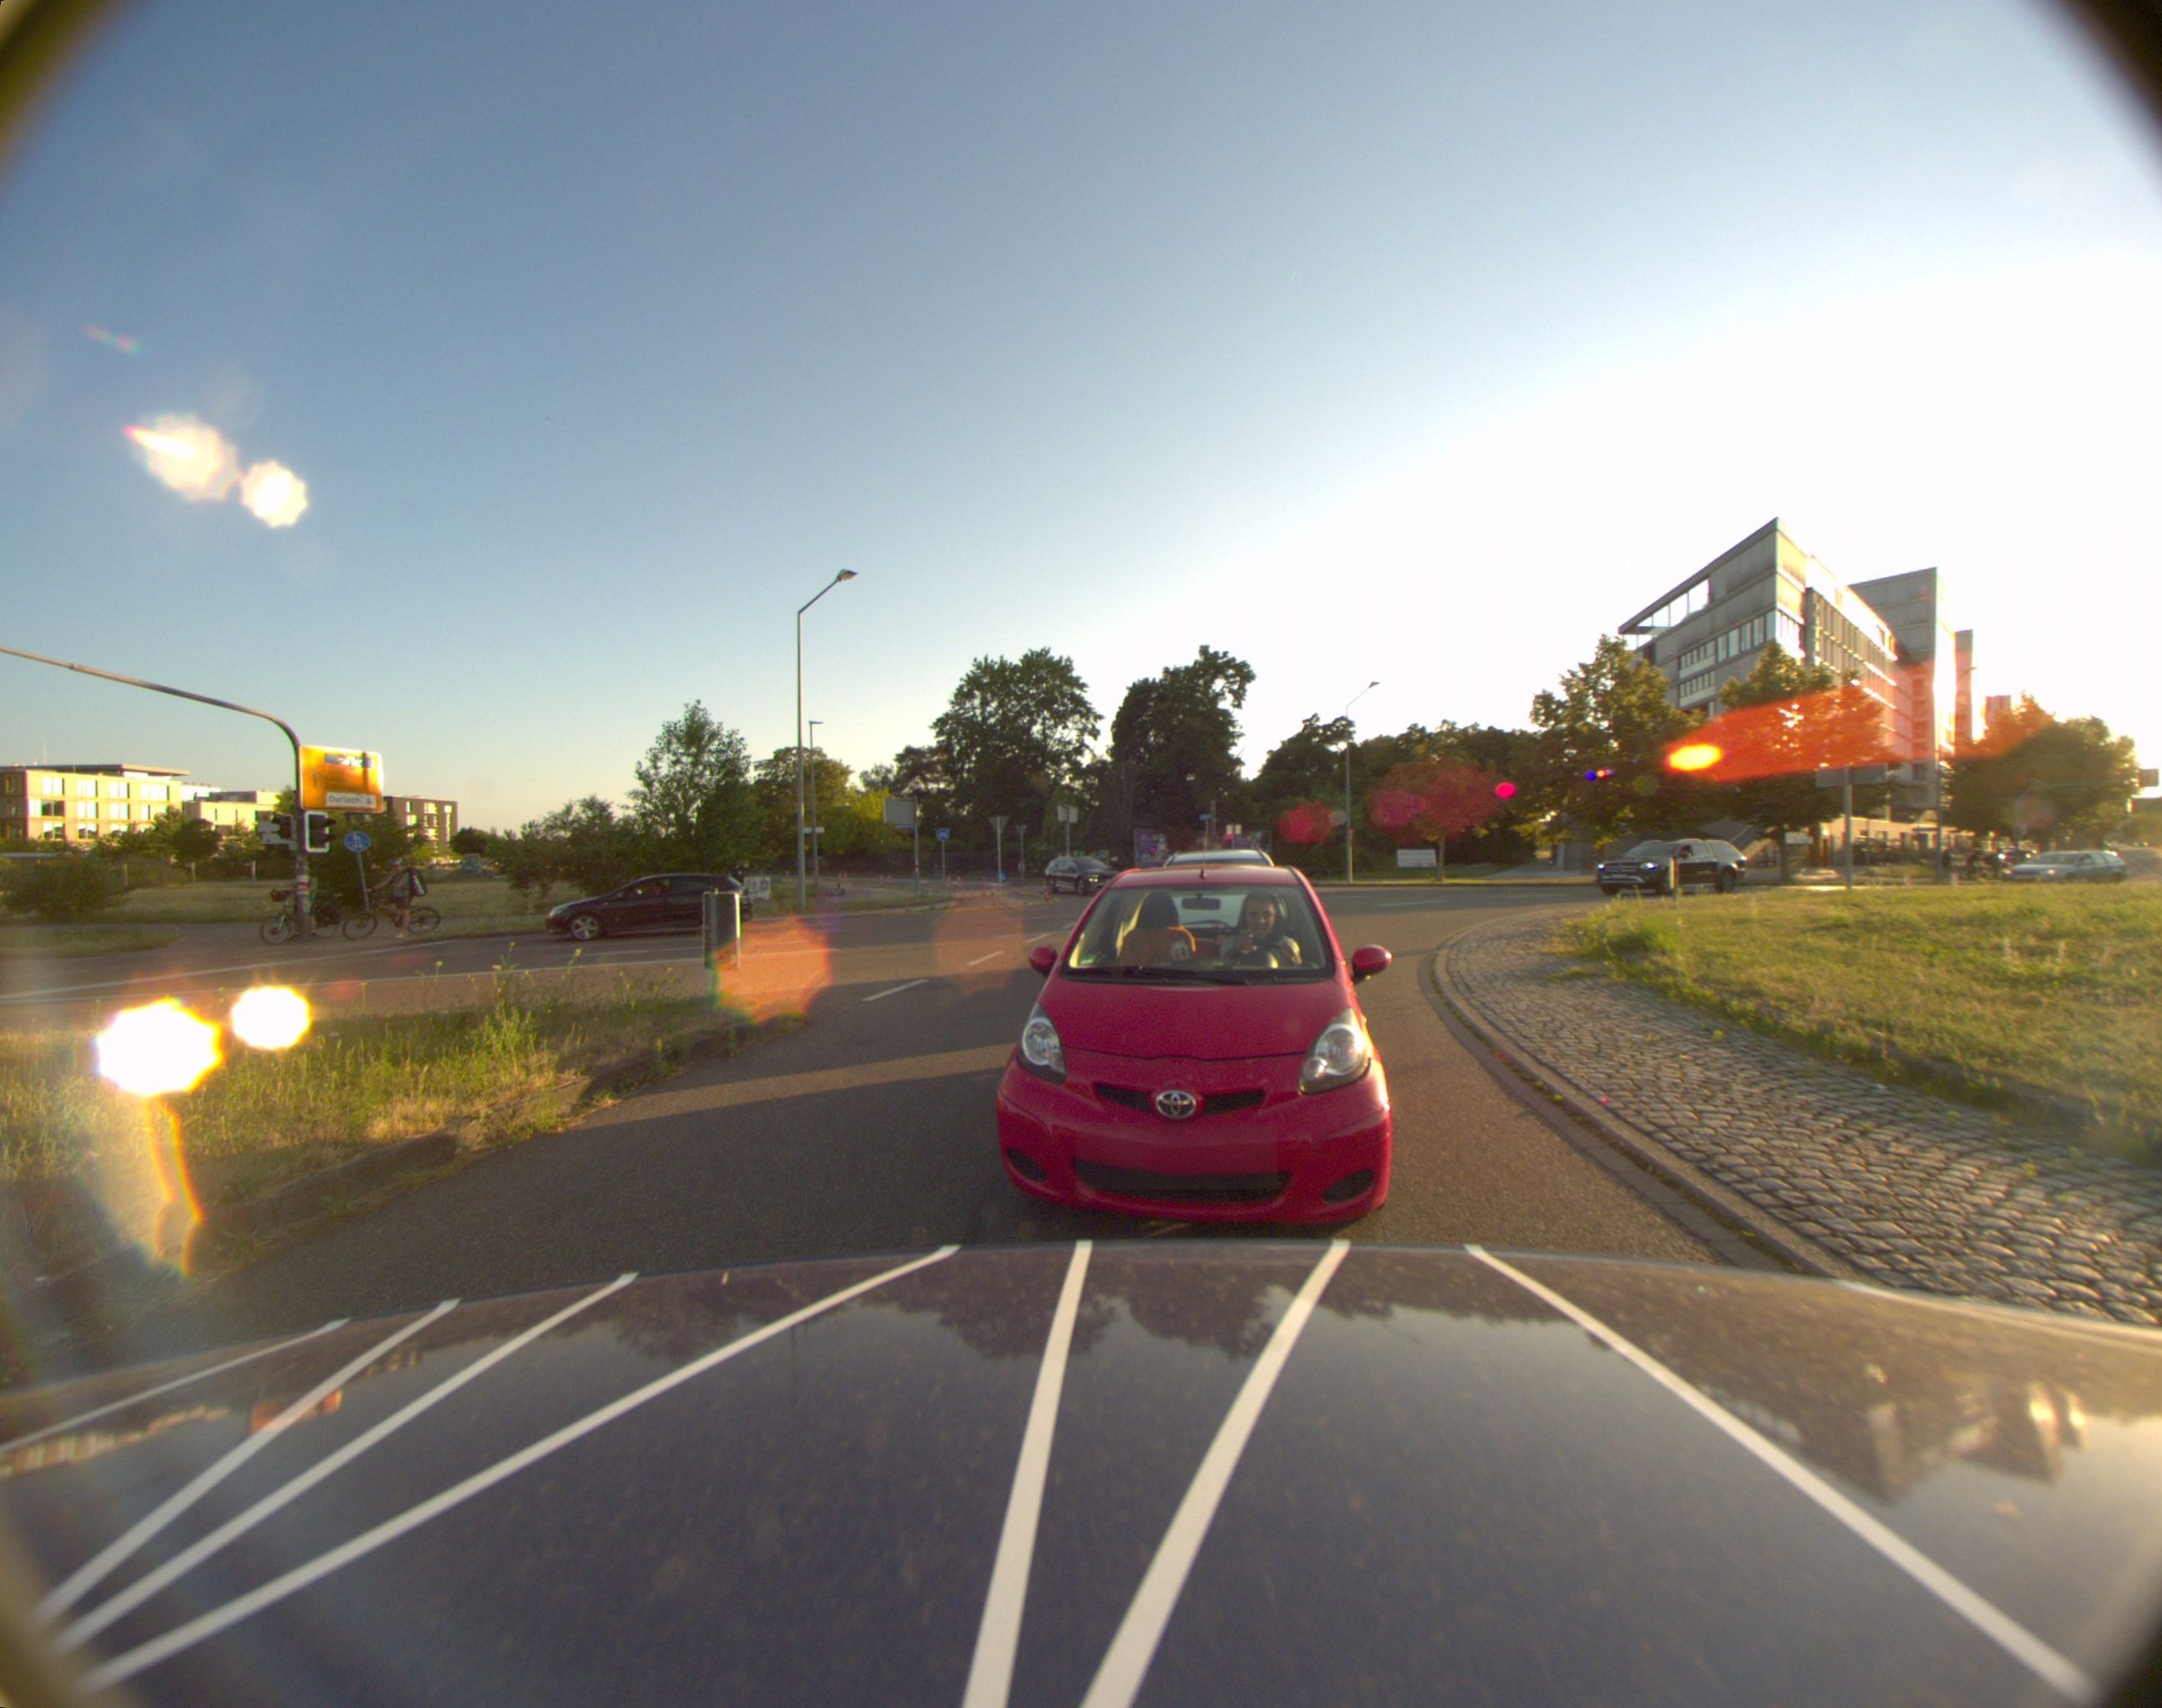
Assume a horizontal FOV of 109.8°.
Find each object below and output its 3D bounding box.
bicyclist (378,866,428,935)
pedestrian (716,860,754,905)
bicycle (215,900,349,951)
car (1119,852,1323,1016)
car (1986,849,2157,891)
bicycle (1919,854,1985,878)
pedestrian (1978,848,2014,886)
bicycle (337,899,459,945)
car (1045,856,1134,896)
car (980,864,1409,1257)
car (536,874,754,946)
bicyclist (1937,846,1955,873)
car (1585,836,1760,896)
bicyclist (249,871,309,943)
[{"bbox_3d":[-17.146,1.164,19.228,0.723,1.680,0.690,-1,1,28],"label":"bicyclist"},{"bbox_3d":[-12.862,1.043,28.228,0.994,1.581,0.924,-2,1,-44],"label":"pedestrian"},{"bbox_3d":[-19.272,1.696,18.408,0.708,0.958,2.109,-1,2,14],"label":"bicycle"},{"bbox_3d":[1.827,0.798,9.734,1.997,1.597,4.202,-1,0,12],"label":"car"},{"bbox_3d":[38.983,0.602,29.965,4.565,1.550,1.833,-1,1,-3],"label":"car"},{"bbox_3d":[47.089,0.625,41.123,0.744,1.237,2.341,-2,1,-41],"label":"bicycle"},{"bbox_3d":[49.261,0.675,40.911,0.776,2.002,0.998,-2,1,-11],"label":"pedestrian"},{"bbox_3d":[-17.161,1.678,19.168,0.708,0.957,2.149,-1,0,26],"label":"bicycle"},{"bbox_3d":[0.276,0.896,32.948,2.003,1.588,4.304,-1,0,-28],"label":"car"},{"bbox_3d":[0.864,0.819,4.996,1.686,1.412,4.004,-1,0,13],"label":"car"},{"bbox_3d":[-9.883,1.219,17.619,4.130,1.371,1.748,-1,0,-21],"label":"car"},{"bbox_3d":[46.977,0.306,41.265,0.693,1.432,0.610,-2,1,-42],"label":"bicyclist"},{"bbox_3d":[19.414,0.383,24.939,5.311,1.802,1.997,0,-1,-20],"label":"car"},{"bbox_3d":[-19.331,1.256,18.321,0.724,1.680,0.690,-1,1,12],"label":"bicyclist"}]
